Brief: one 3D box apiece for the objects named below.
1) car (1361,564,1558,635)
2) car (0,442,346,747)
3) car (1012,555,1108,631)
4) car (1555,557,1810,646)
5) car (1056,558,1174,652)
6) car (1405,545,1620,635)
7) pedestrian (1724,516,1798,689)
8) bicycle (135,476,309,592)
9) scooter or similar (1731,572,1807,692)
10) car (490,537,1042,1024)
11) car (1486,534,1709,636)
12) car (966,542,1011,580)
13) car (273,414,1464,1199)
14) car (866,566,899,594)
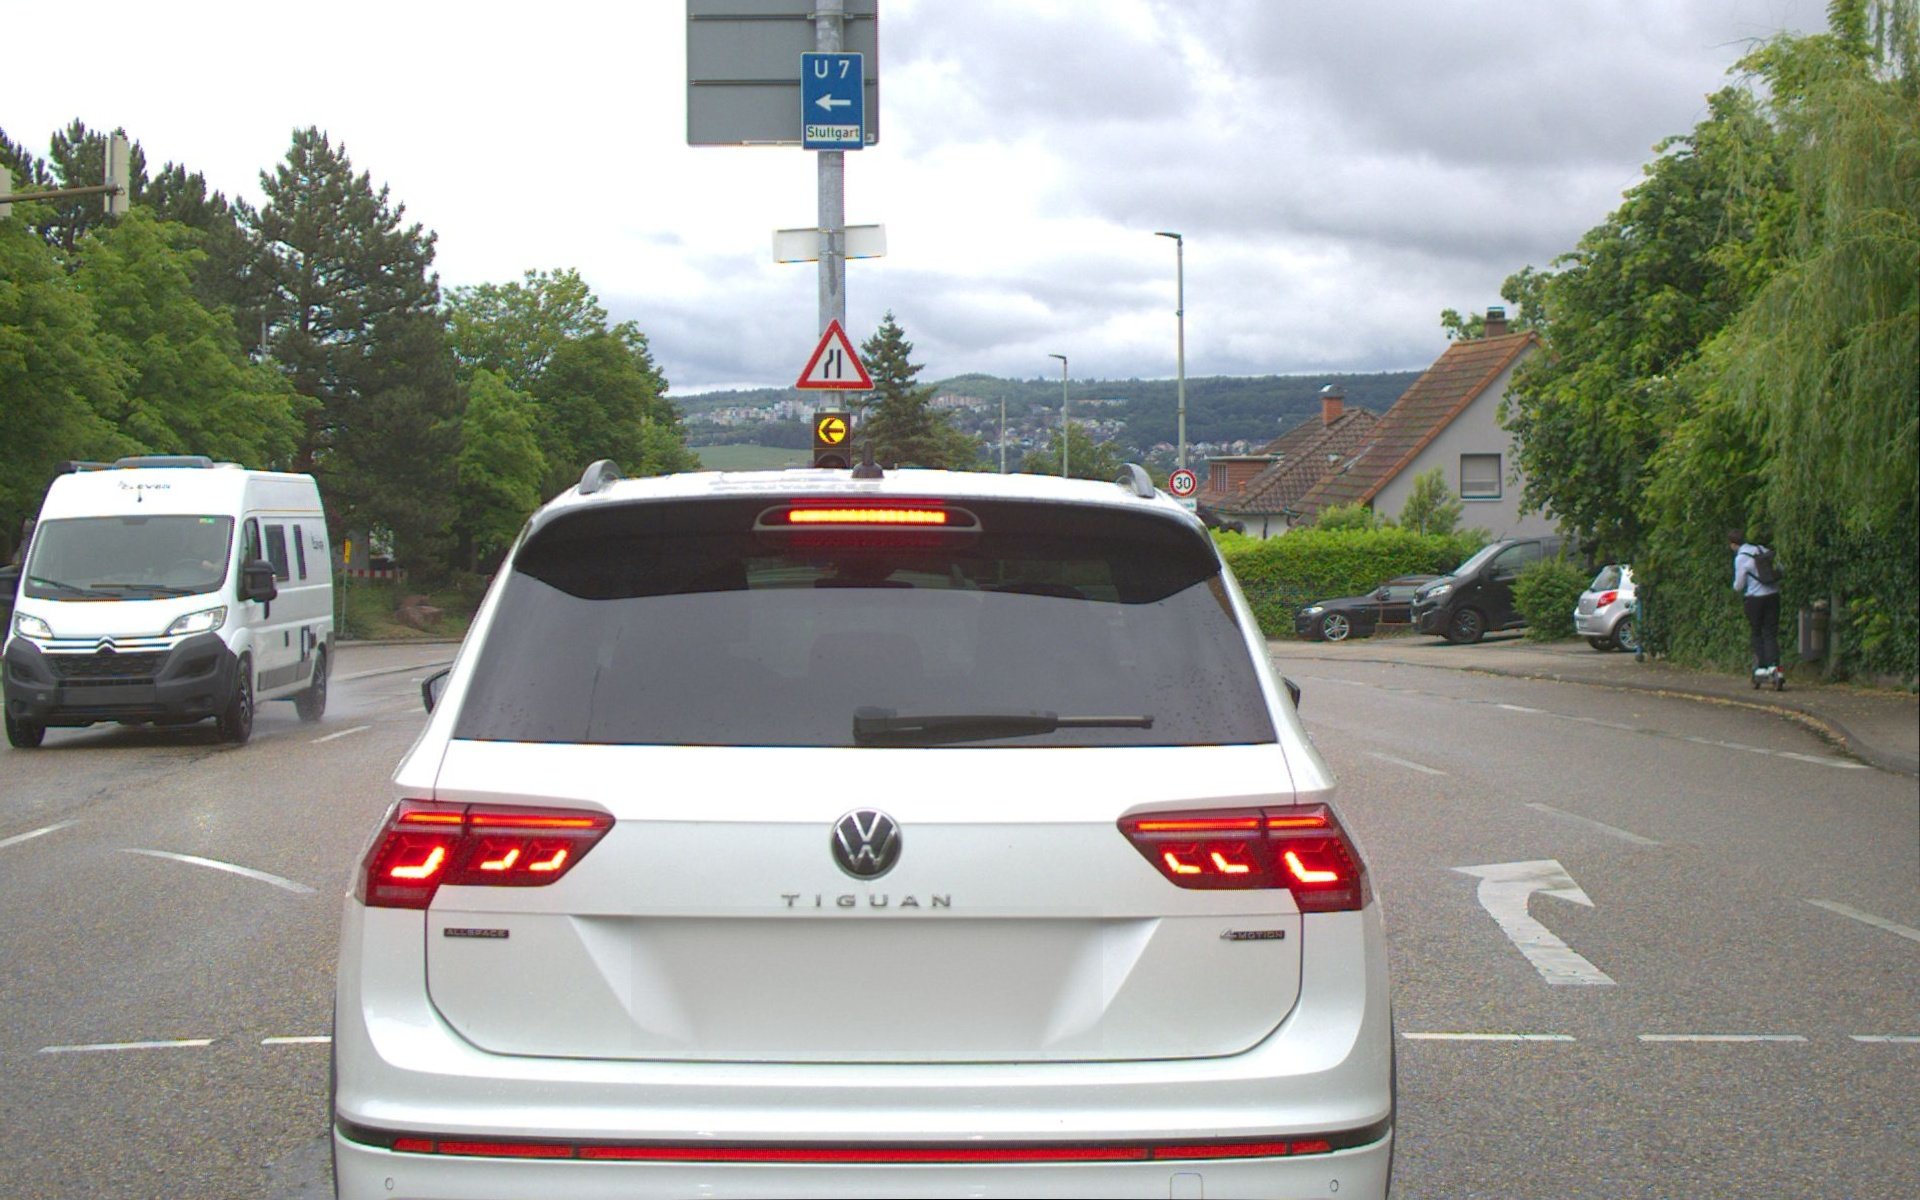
[{"bbox_3d":[10.021,0.002,69.078,3.687,1.365,1.519,1,-1,-2],"label":"car"},{"bbox_3d":[-7.338,-0.096,32.012,2.297,2.519,5.774,-2,1,-2],"label":"car"},{"bbox_3d":[1.937,-0.164,67.889,1.664,1.422,4.305,-1,1,-1],"label":"car"},{"bbox_3d":[11.842,0.033,56.429,3.713,1.390,1.729,-1,0,-7],"label":"car"},{"bbox_3d":[2.441,0.055,54.826,1.625,1.398,3.690,1,1,-1],"label":"car"},{"bbox_3d":[10.291,-0.195,64.187,3.627,1.620,1.792,0,2,-4],"label":"car"},{"bbox_3d":[9.304,0.020,39.966,0.655,1.995,0.718,0,1,-4],"label":"pedestrian"},{"bbox_3d":[-7.540,-0.677,35.160,1.636,1.122,0.468,-2,2,-2],"label":"bicycle"},{"bbox_3d":[9.348,0.358,39.751,0.461,1.356,1.385,0,1,-4],"label":"scooter or similar"},{"bbox_3d":[-0.646,0.565,13.251,1.798,1.584,3.926,1,1,0],"label":"car"},{"bbox_3d":[11.433,-0.284,61.770,3.627,1.740,1.708,0,2,-4],"label":"car"},{"bbox_3d":[1.202,-1.659,145.853,1.850,1.569,4.000,-1,1,0],"label":"car"},{"bbox_3d":[-0.182,0.535,7.269,1.763,1.690,4.273,-1,1,-1],"label":"car"},{"bbox_3d":[-4.506,-1.181,201.186,1.850,1.569,4.000,-1,1,0],"label":"car"}]
